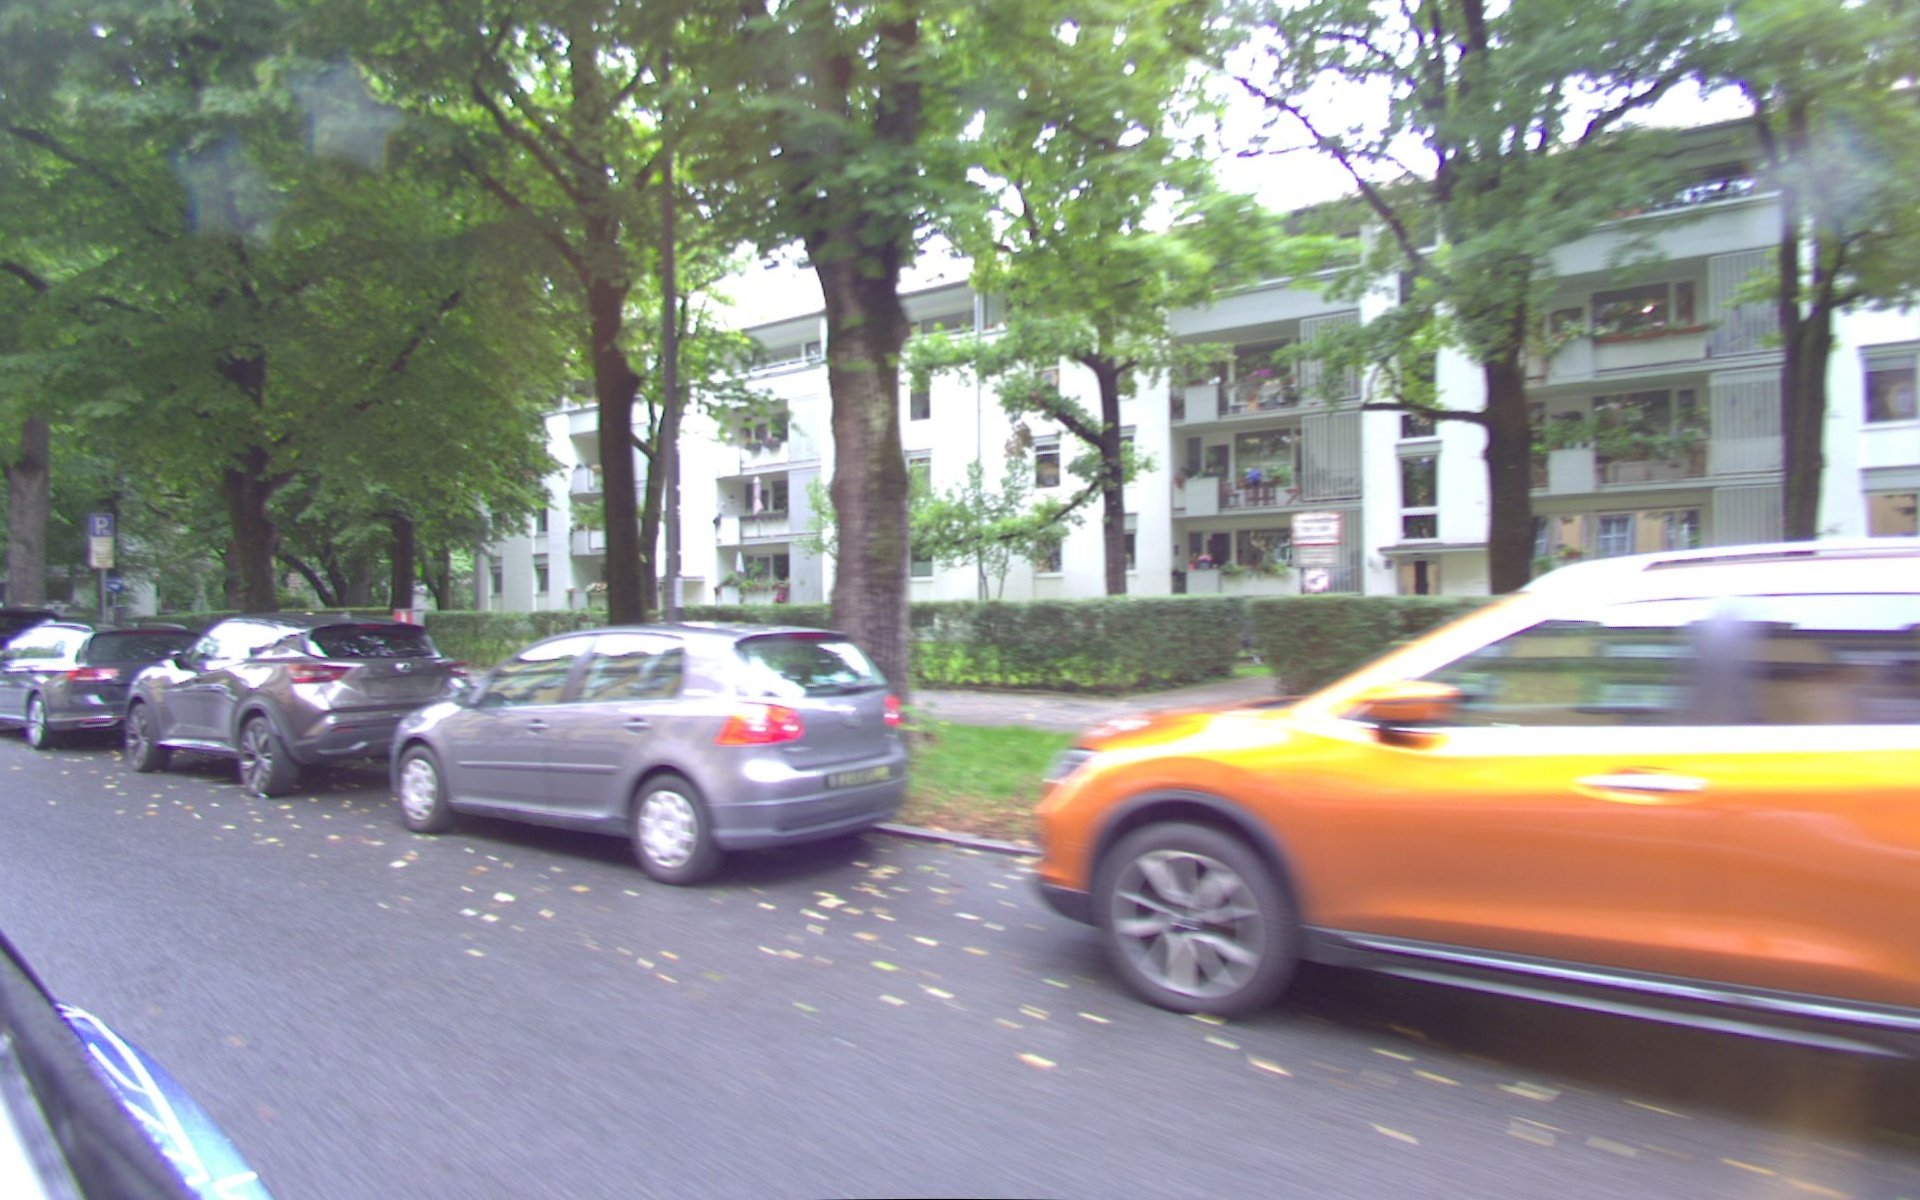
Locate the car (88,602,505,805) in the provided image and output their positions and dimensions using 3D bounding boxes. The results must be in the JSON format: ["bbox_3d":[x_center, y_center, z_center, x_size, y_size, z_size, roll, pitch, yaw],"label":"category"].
[{"bbox_3d":[-6.595,0.873,9.918,4.473,1.586,1.772,-1,-2,33],"label":"car"}]

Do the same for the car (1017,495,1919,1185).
[{"bbox_3d":[2.650,0.614,3.541,4.630,1.741,1.856,-1,-1,35],"label":"car"}]

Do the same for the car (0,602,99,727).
[{"bbox_3d":[-15.825,0.966,16.144,4.908,1.811,1.976,-1,-2,35],"label":"car"}]

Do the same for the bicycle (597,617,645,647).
[{"bbox_3d":[-13.114,1.234,39.114,1.895,1.116,0.636,-1,0,30],"label":"bicycle"}]

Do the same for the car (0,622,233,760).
[{"bbox_3d":[-11.270,1.029,13.005,4.684,1.462,1.704,-1,-1,35],"label":"car"}]

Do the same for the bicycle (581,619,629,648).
[{"bbox_3d":[-13.550,1.281,38.594,1.895,1.045,0.636,-1,0,30],"label":"bicycle"}]

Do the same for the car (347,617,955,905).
[{"bbox_3d":[-2.269,0.858,6.983,4.239,1.433,1.713,-1,-1,33],"label":"car"}]
